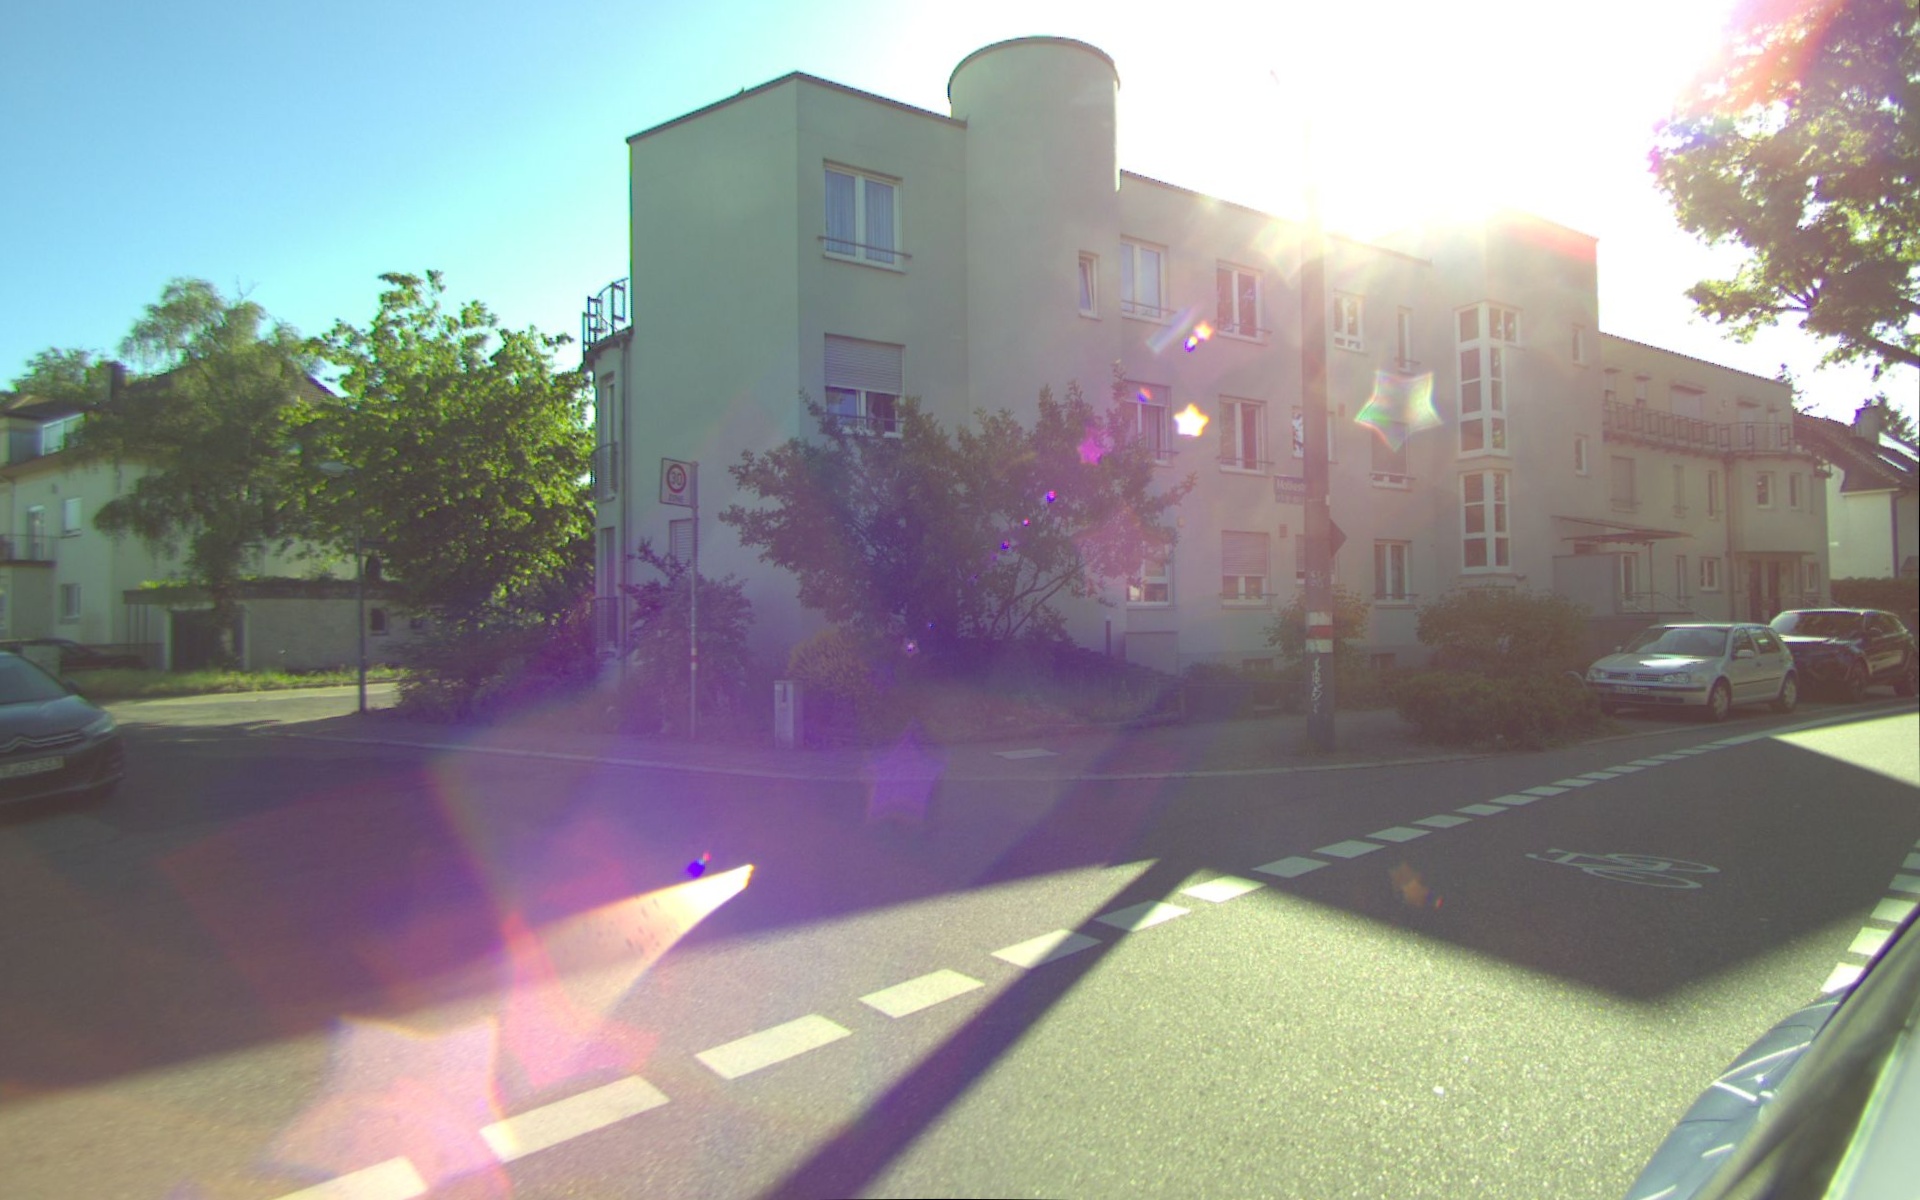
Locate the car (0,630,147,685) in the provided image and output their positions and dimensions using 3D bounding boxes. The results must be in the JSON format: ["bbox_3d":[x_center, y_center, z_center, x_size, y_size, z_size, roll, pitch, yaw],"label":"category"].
[{"bbox_3d":[-28.208,1.723,31.177,1.983,1.520,4.534,-1,-1,31],"label":"car"}]

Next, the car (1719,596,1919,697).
[{"bbox_3d":[16.421,0.773,18.914,4.509,1.637,2.001,-1,0,-31],"label":"car"}]

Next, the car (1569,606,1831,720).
[{"bbox_3d":[11.667,0.893,15.884,4.441,1.515,1.744,-1,-1,-32],"label":"car"}]

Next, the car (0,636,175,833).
[{"bbox_3d":[-9.720,1.191,9.710,4.427,1.508,1.988,-1,2,32],"label":"car"}]
